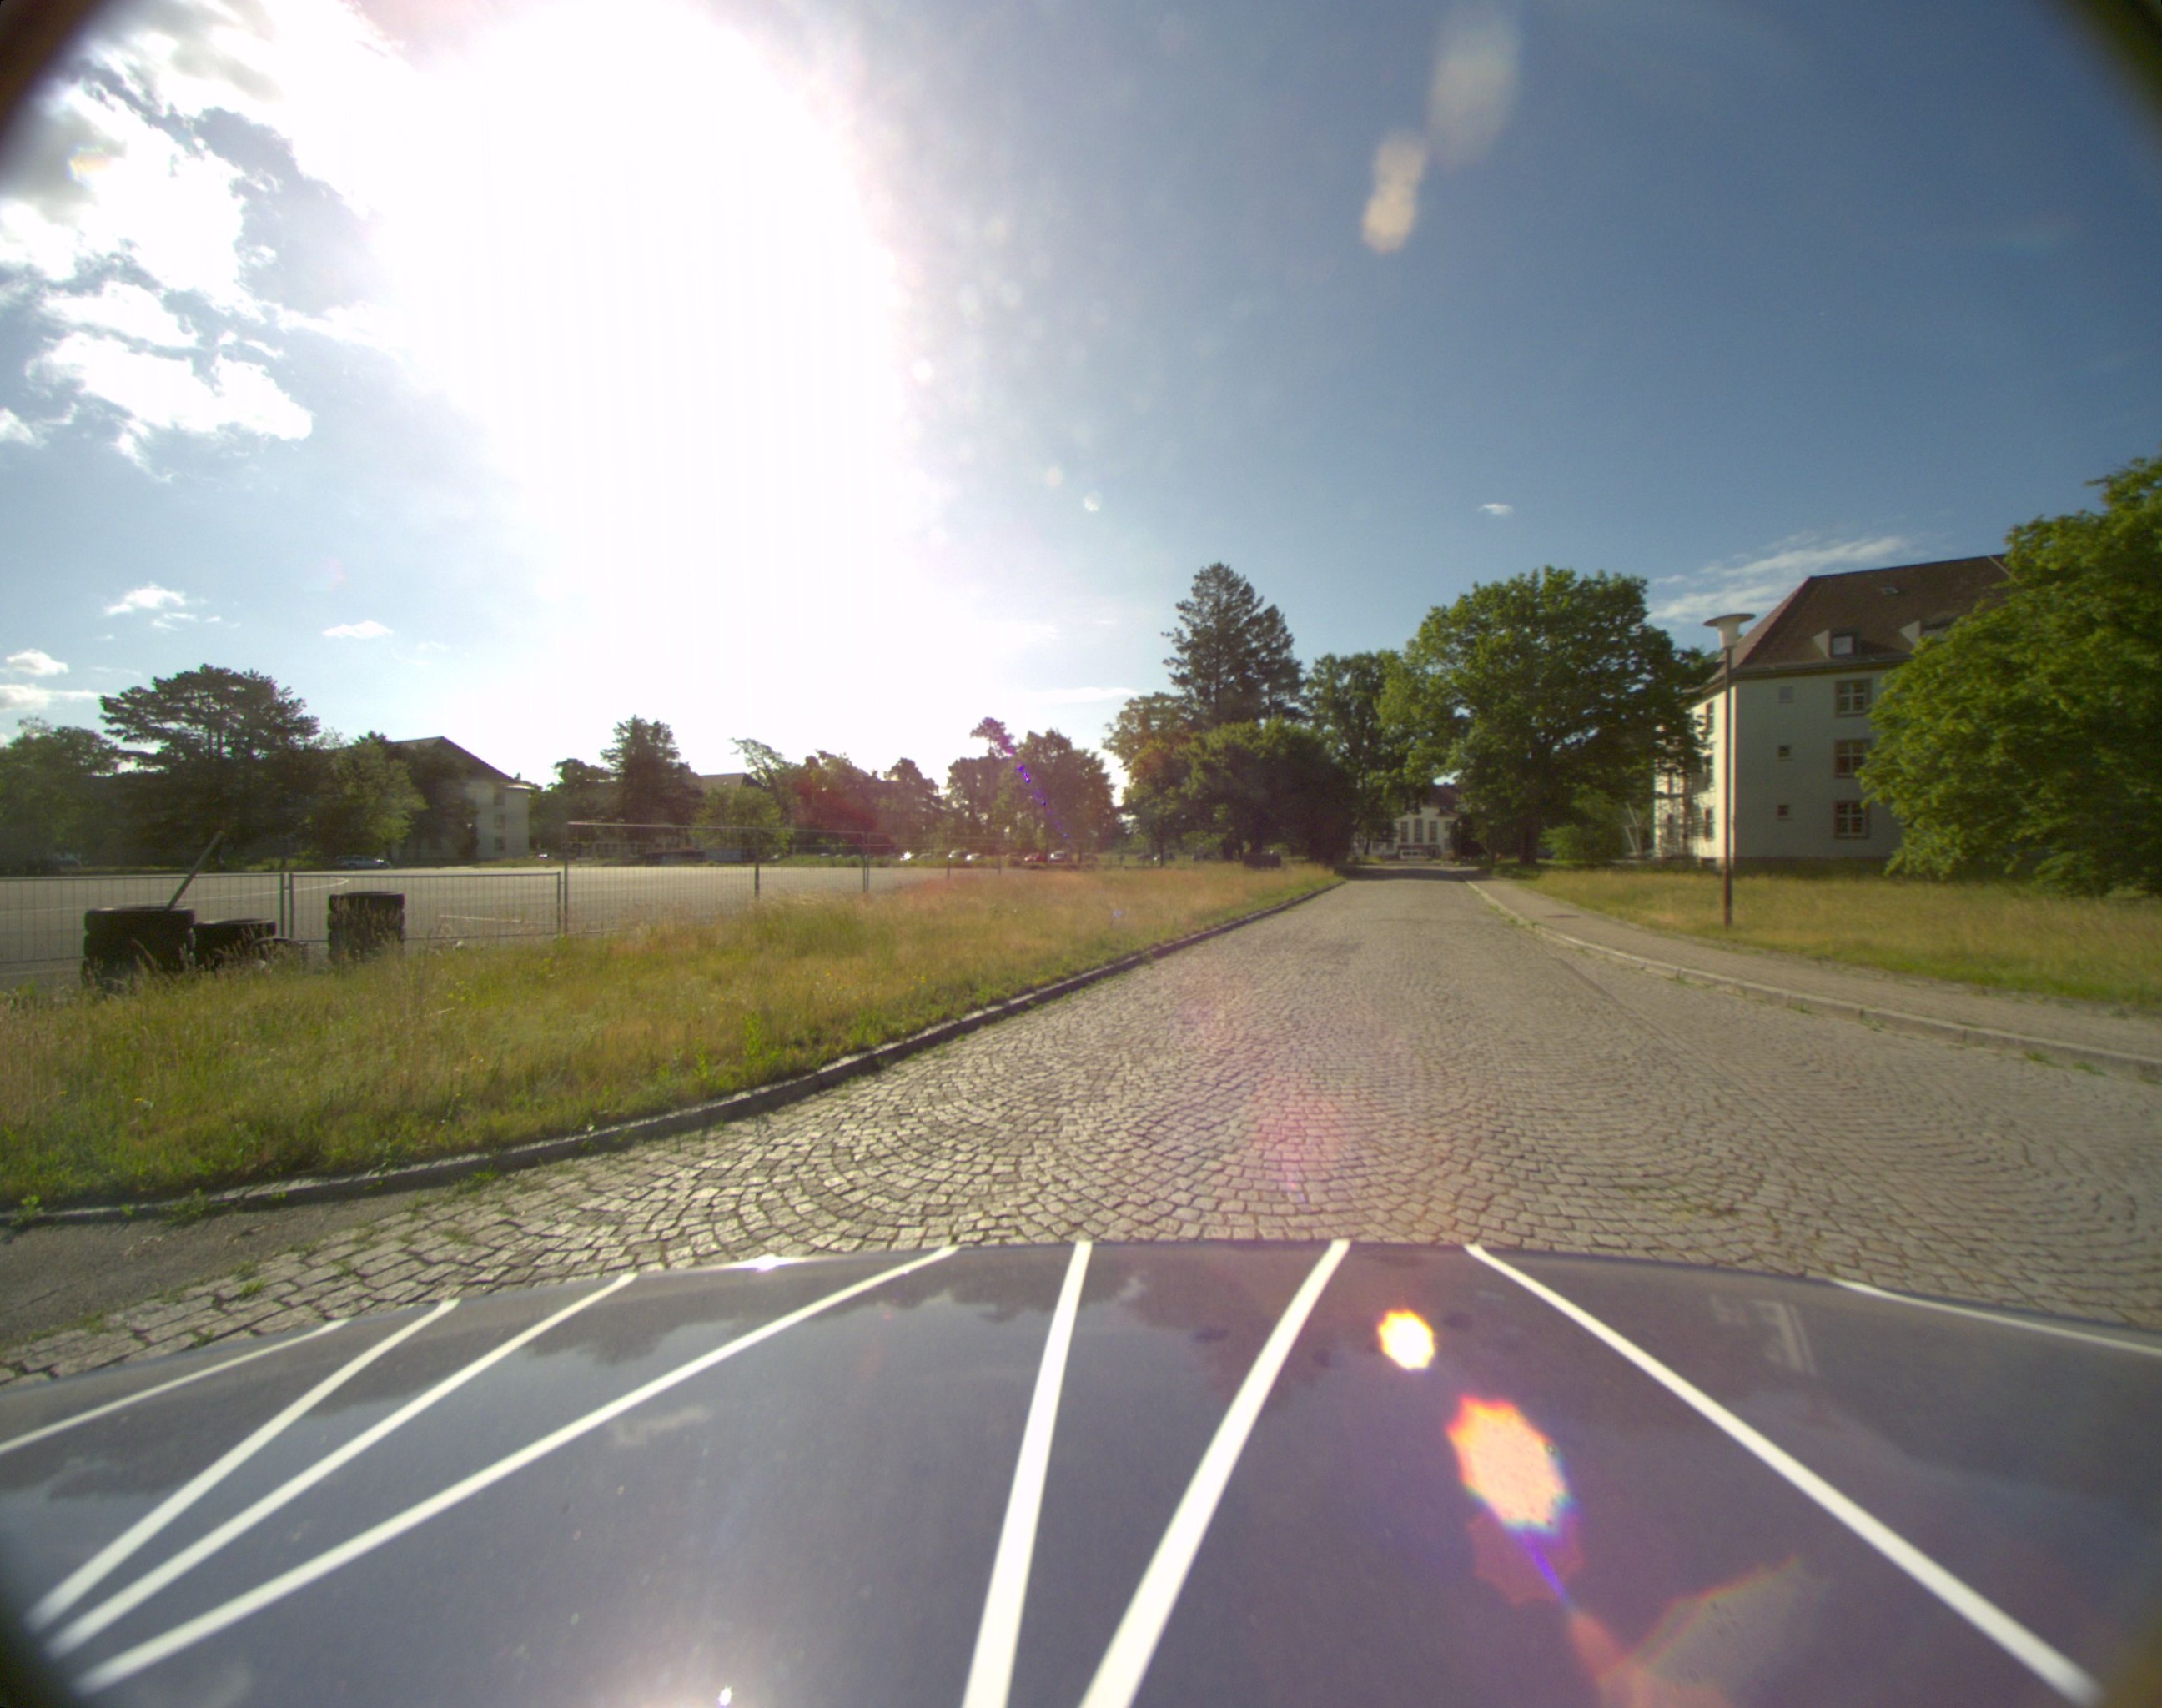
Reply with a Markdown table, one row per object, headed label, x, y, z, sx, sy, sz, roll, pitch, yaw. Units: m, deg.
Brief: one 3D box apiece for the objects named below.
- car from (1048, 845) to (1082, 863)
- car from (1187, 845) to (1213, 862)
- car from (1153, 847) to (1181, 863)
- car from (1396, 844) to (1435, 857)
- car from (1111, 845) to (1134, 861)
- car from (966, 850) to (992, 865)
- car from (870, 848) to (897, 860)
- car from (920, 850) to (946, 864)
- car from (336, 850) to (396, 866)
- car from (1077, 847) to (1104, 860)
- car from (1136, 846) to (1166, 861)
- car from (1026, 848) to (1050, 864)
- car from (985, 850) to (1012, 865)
| label | x | y | z | sx | sy | sz | roll | pitch | yaw |
| --- | --- | --- | --- | --- | --- | --- | --- | --- | --- |
| car | -2.068 | -0.031 | 99.835 | 1.995 | 2.002 | 6.043 | -2 | 1 | 25 |
| car | 14.415 | -0.084 | 91.568 | 2.242 | 2.002 | 4.355 | 0 | 1 | 21 |
| car | 10.628 | 0.112 | 93.557 | 2.241 | 1.828 | 4.356 | 0 | 1 | 25 |
| car | 61.774 | -0.646 | 140.271 | 6.433 | 2.452 | 2.467 | 0 | 1 | 25 |
| car | 5.361 | -0.104 | 97.125 | 1.738 | 2.002 | 3.625 | 0 | 1 | 24 |
| car | -14.016 | 0.516 | 104.364 | 1.738 | 2.002 | 3.857 | 0 | 1 | 24 |
| car | -28.863 | 0.001 | 111.100 | 1.738 | 1.649 | 3.858 | 0 | 1 | 26 |
| car | -20.970 | 0.427 | 107.820 | 1.738 | 2.002 | 3.858 | 0 | 1 | 26 |
| car | -73.416 | 0.416 | 78.091 | 1.995 | 1.573 | 4.006 | 0 | 1 | 20 |
| car | 1.246 | -0.057 | 97.993 | 1.995 | 1.642 | 4.006 | 0 | 1 | 24 |
| car | 8.812 | -0.031 | 95.269 | 2.241 | 1.828 | 4.357 | 0 | 1 | 28 |
| car | -5.652 | 0.251 | 101.028 | 1.738 | 2.002 | 3.625 | 0 | 1 | 24 |
| car | -11.360 | 0.505 | 104.718 | 1.995 | 2.002 | 4.006 | 0 | 1 | 23 |
